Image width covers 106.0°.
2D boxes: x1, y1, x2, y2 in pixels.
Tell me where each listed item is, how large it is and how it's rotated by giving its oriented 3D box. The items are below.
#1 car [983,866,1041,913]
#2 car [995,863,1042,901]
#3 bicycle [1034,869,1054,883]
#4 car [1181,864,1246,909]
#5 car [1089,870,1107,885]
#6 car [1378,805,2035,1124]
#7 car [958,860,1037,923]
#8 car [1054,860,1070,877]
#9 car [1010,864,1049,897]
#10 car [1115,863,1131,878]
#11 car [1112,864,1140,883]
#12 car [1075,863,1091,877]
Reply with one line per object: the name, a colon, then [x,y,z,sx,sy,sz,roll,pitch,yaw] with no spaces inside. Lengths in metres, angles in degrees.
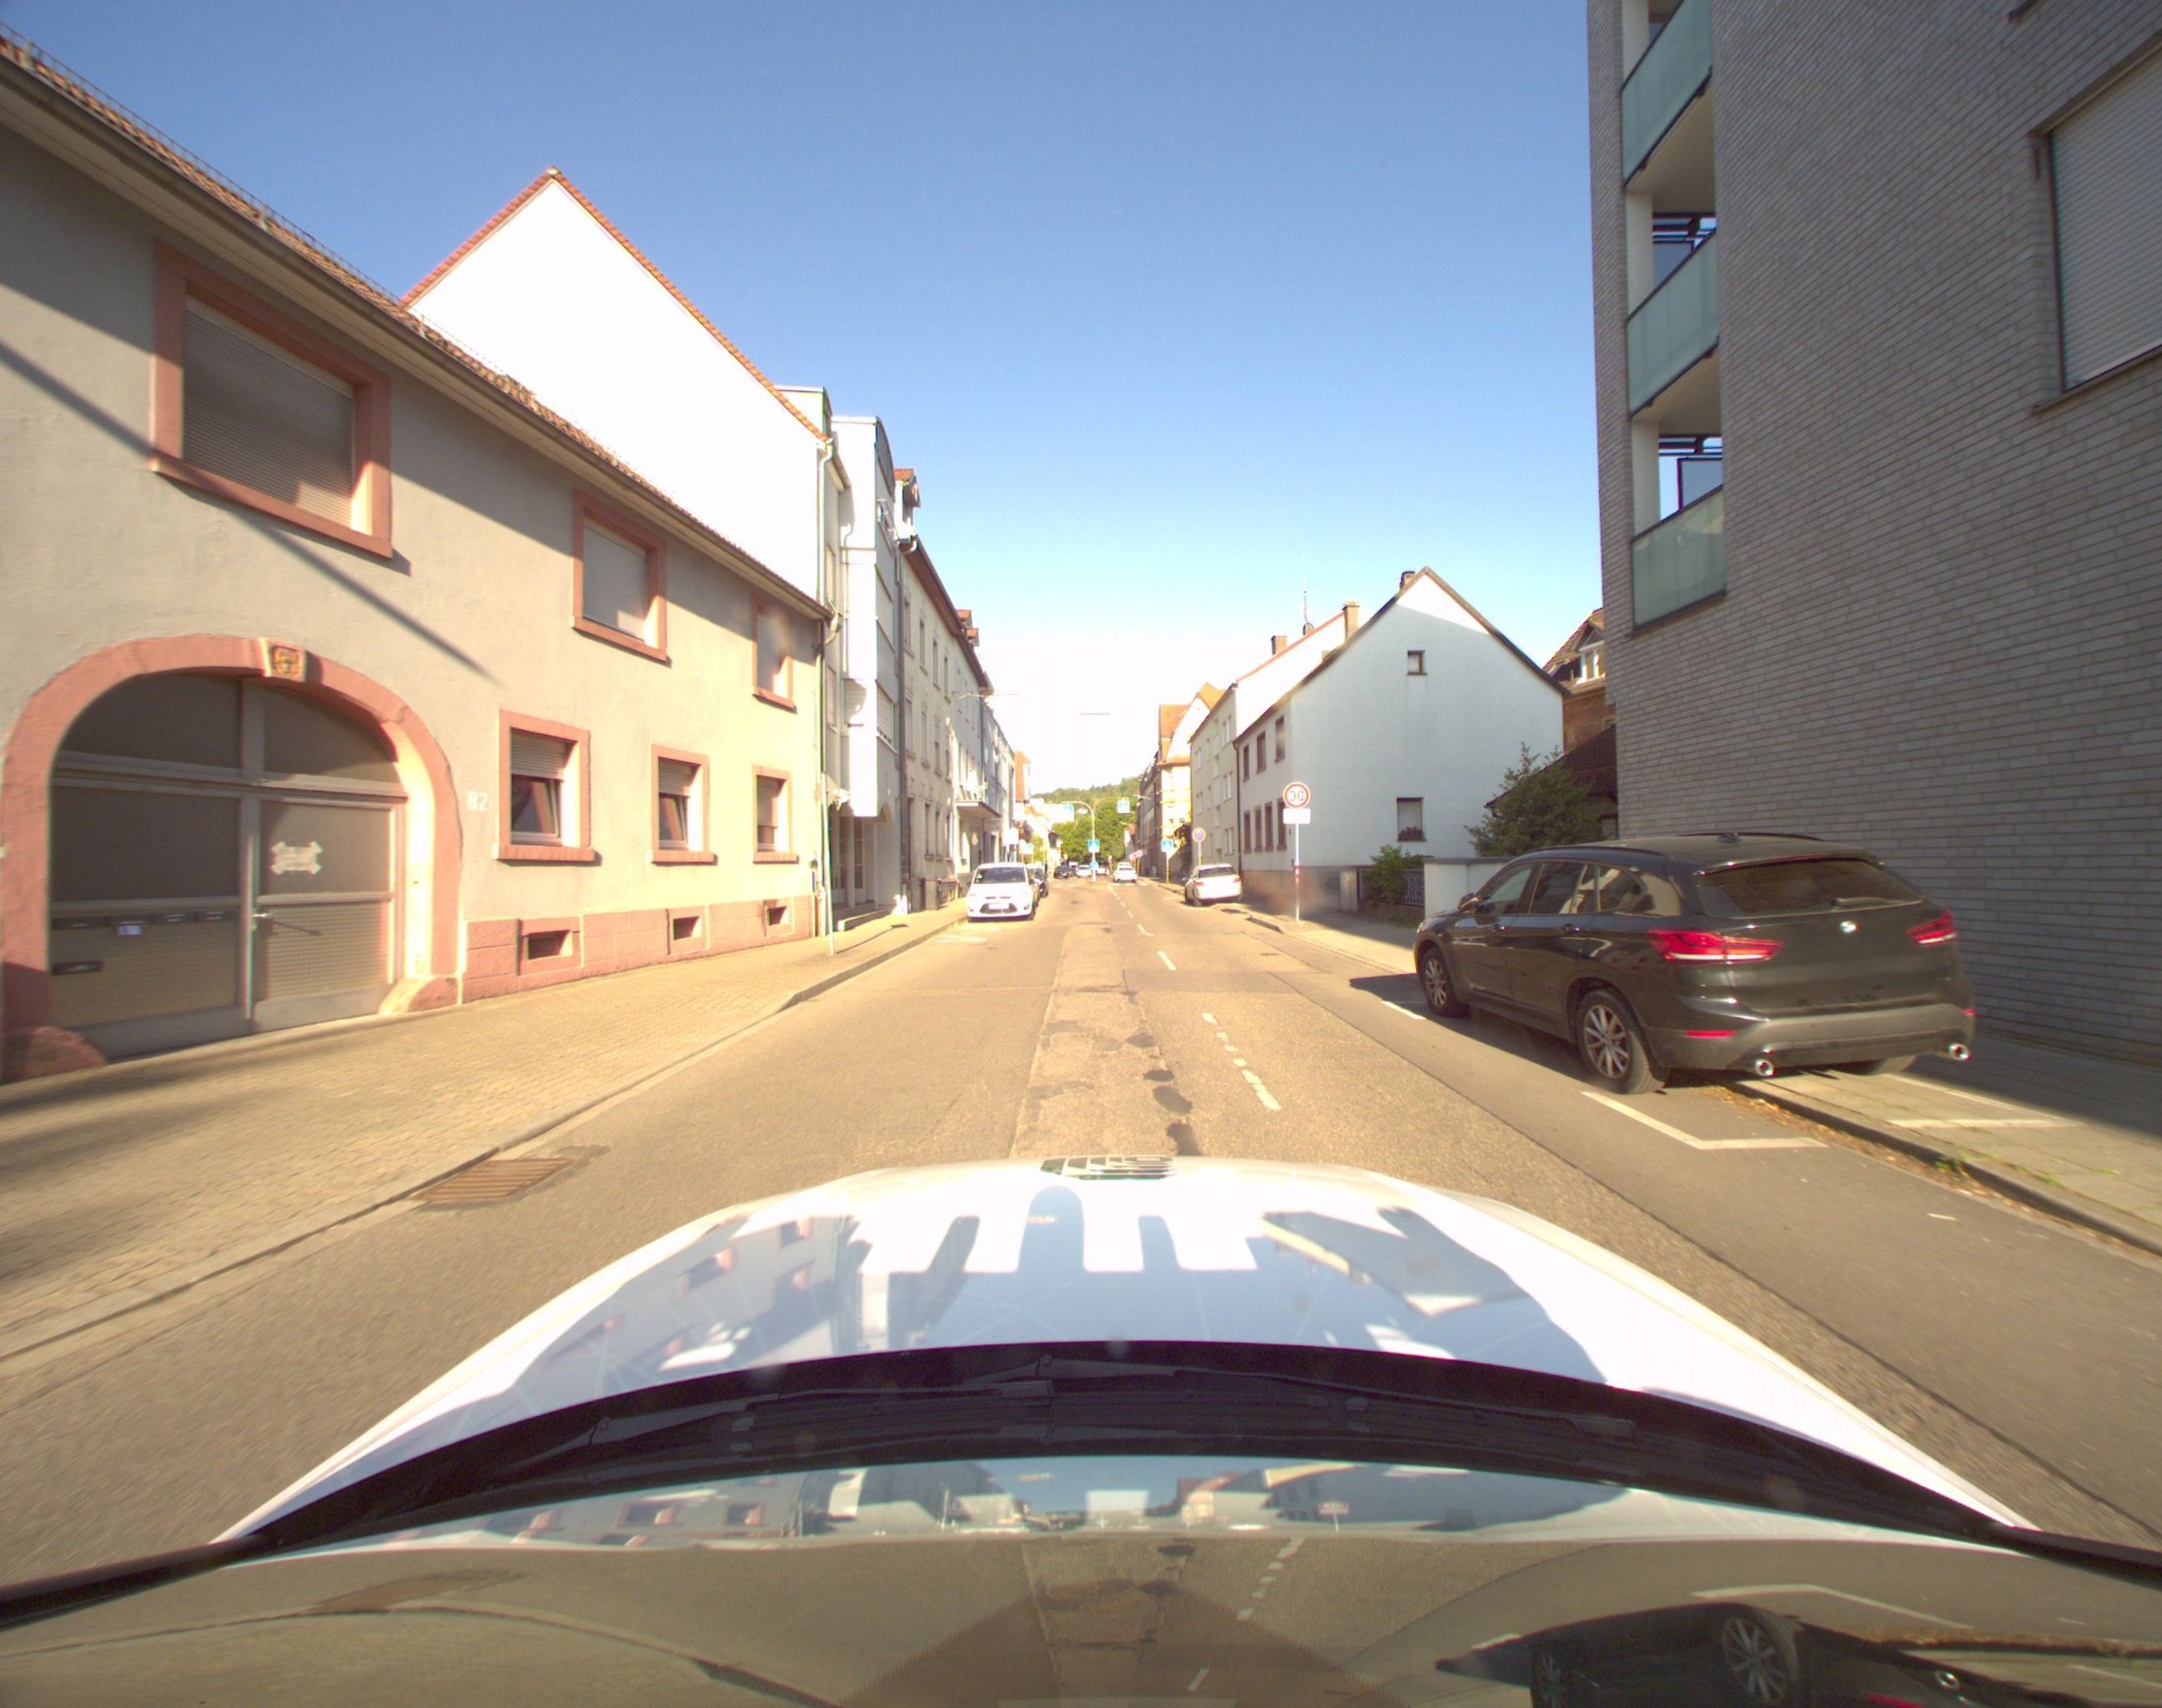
car: [-2.420,1.251,29.530,1.760,1.496,4.123,-3,-1,-1]
car: [-2.598,1.156,34.488,1.655,1.526,3.808,0,-1,0]
bicycle: [-3.383,2.012,74.849,1.780,1.184,0.599,-1,-2,0]
car: [4.796,1.162,30.116,1.735,1.492,4.439,-2,-1,1]
car: [2.398,3.423,118.763,1.993,2.014,3.988,-1,-1,-8]
car: [4.237,0.634,6.734,1.848,1.636,4.623,-3,-1,1]
car: [-2.331,1.037,23.948,1.989,1.648,5.216,0,-1,-3]
car: [-2.330,1.772,100.673,1.988,2.014,3.997,0,-1,-1]
car: [-2.506,1.311,40.336,1.726,1.499,3.957,-1,-2,-1]
car: [5.745,2.273,111.150,1.835,1.906,3.998,-2,-1,-1]
car: [3.667,1.599,67.074,1.988,1.467,3.996,-1,-2,-2]
car: [0.259,2.020,104.958,1.803,1.702,4.186,-2,-1,-3]
